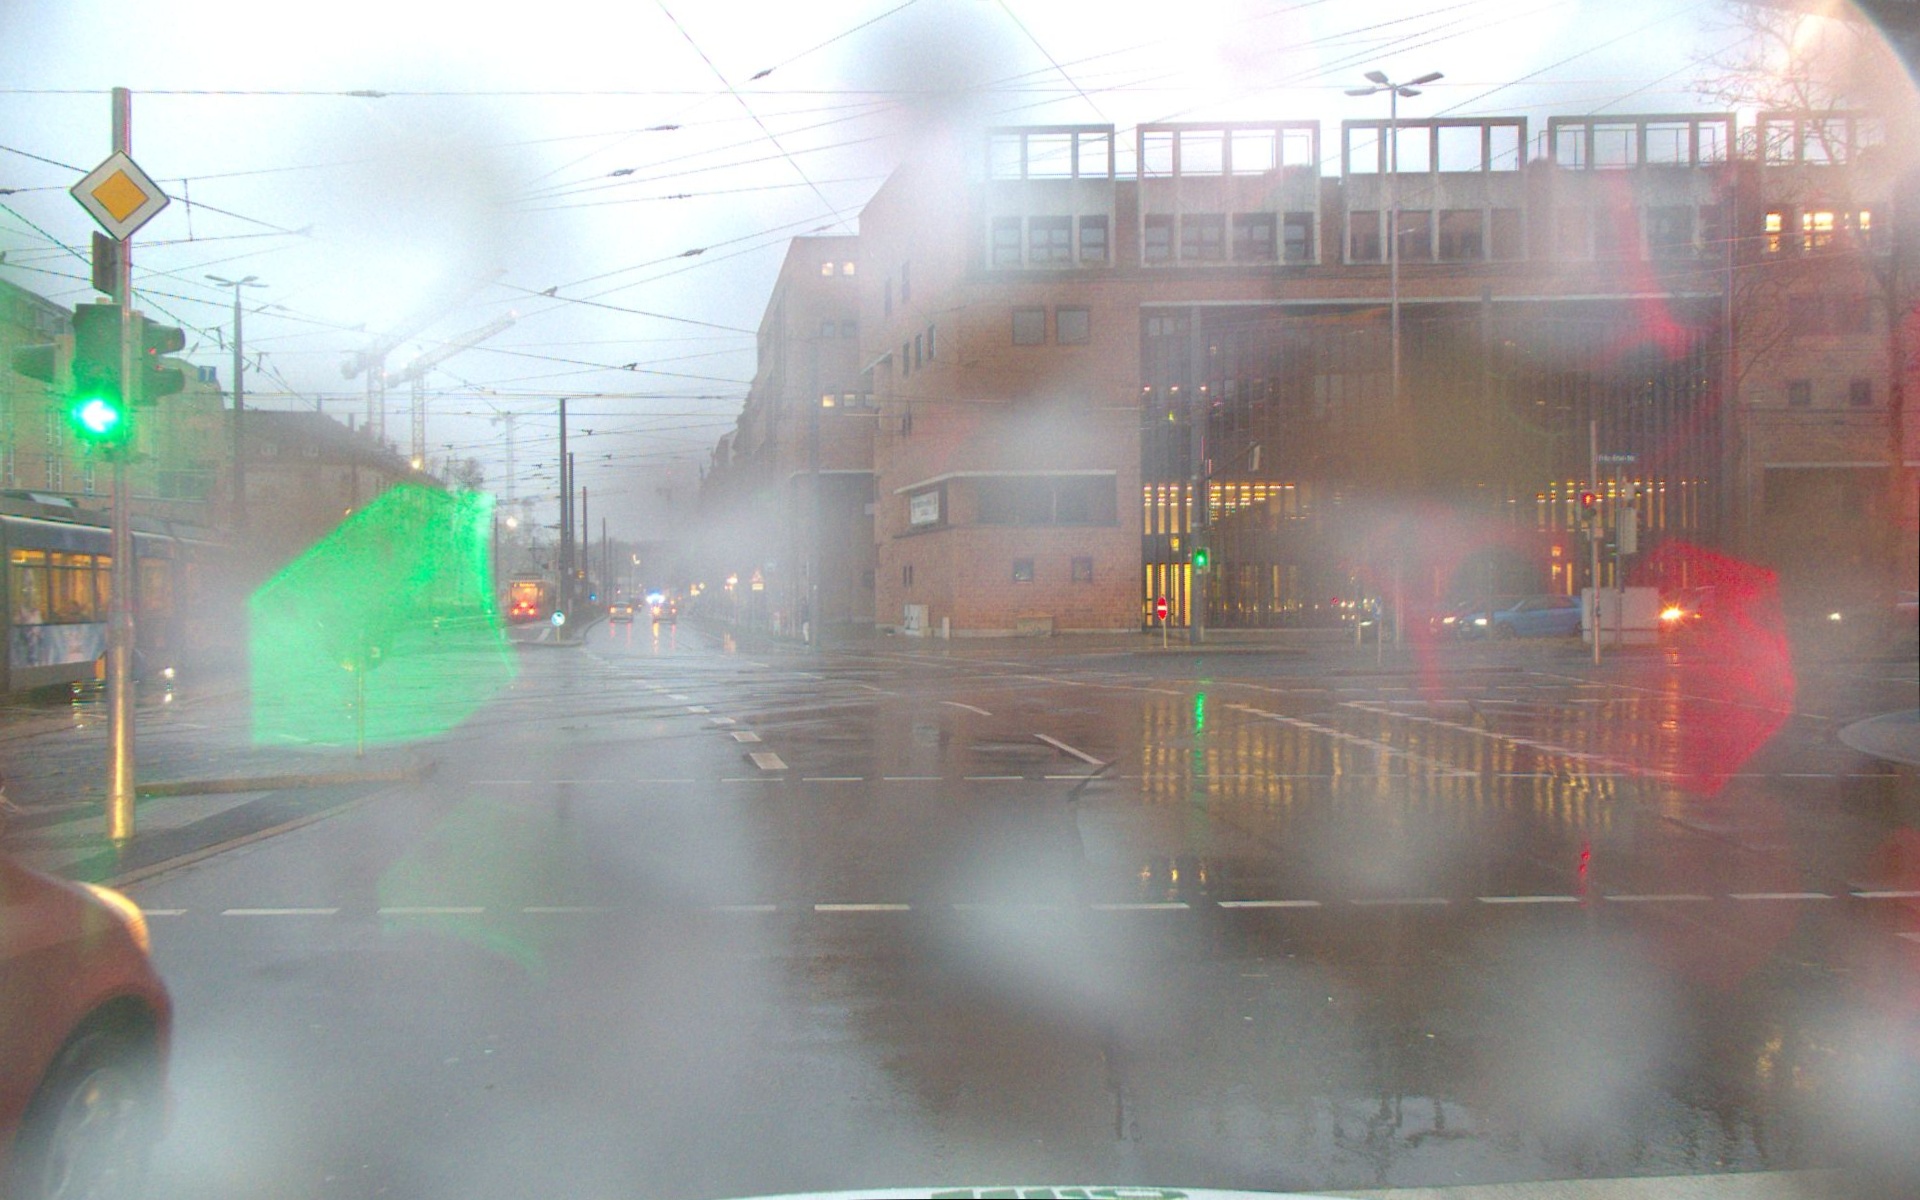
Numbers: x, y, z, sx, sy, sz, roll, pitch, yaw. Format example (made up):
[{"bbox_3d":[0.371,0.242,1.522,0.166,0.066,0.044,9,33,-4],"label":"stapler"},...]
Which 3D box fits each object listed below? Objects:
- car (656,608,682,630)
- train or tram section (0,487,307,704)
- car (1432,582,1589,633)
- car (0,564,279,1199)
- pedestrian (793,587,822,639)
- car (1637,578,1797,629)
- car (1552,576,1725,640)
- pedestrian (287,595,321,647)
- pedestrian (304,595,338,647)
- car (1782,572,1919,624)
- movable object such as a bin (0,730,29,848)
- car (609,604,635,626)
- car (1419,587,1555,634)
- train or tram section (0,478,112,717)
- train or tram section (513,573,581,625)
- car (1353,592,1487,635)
[{"bbox_3d":[-22.291,1.463,126.930,1.836,1.606,3.992,2,0,-9],"label":"car"},{"bbox_3d":[-18.278,-0.056,37.386,2.813,3.677,19.164,-1,0,-10],"label":"train or tram section"},{"bbox_3d":[15.976,0.203,48.084,3.910,1.284,1.846,-1,4,-7],"label":"car"},{"bbox_3d":[-2.524,0.691,2.227,1.663,1.485,3.757,-1,0,0],"label":"car"},{"bbox_3d":[-6.057,0.510,65.532,1.050,2.049,0.683,0,0,-14],"label":"pedestrian"},{"bbox_3d":[22.347,0.085,48.888,3.910,1.310,1.846,-1,4,-7],"label":"car"},{"bbox_3d":[18.228,0.201,44.539,3.910,1.530,1.846,-1,4,-7],"label":"car"},{"bbox_3d":[-26.049,0.818,65.669,0.959,2.049,0.835,0,0,14],"label":"pedestrian"},{"bbox_3d":[-25.827,0.839,66.828,0.959,2.049,0.835,0,0,14],"label":"pedestrian"},{"bbox_3d":[29.331,-0.092,54.161,3.910,1.530,1.846,-1,4,-7],"label":"car"},{"bbox_3d":[-6.164,1.186,10.294,0.405,0.711,0.535,-3,-2,42],"label":"movable object such as a bin"},{"bbox_3d":[-25.950,1.141,127.002,1.837,1.606,3.990,2,0,-10],"label":"car"},{"bbox_3d":[16.602,0.309,52.180,3.649,1.284,1.846,-1,4,-7],"label":"car"},{"bbox_3d":[-15.381,-0.022,19.799,2.811,3.677,20.034,-1,0,-8],"label":"train or tram section"},{"bbox_3d":[-31.292,-0.086,126.418,3.133,3.496,27.760,-1,0,-10],"label":"train or tram section"},{"bbox_3d":[15.537,0.441,55.991,3.909,1.333,1.998,-1,0,-5],"label":"car"}]
